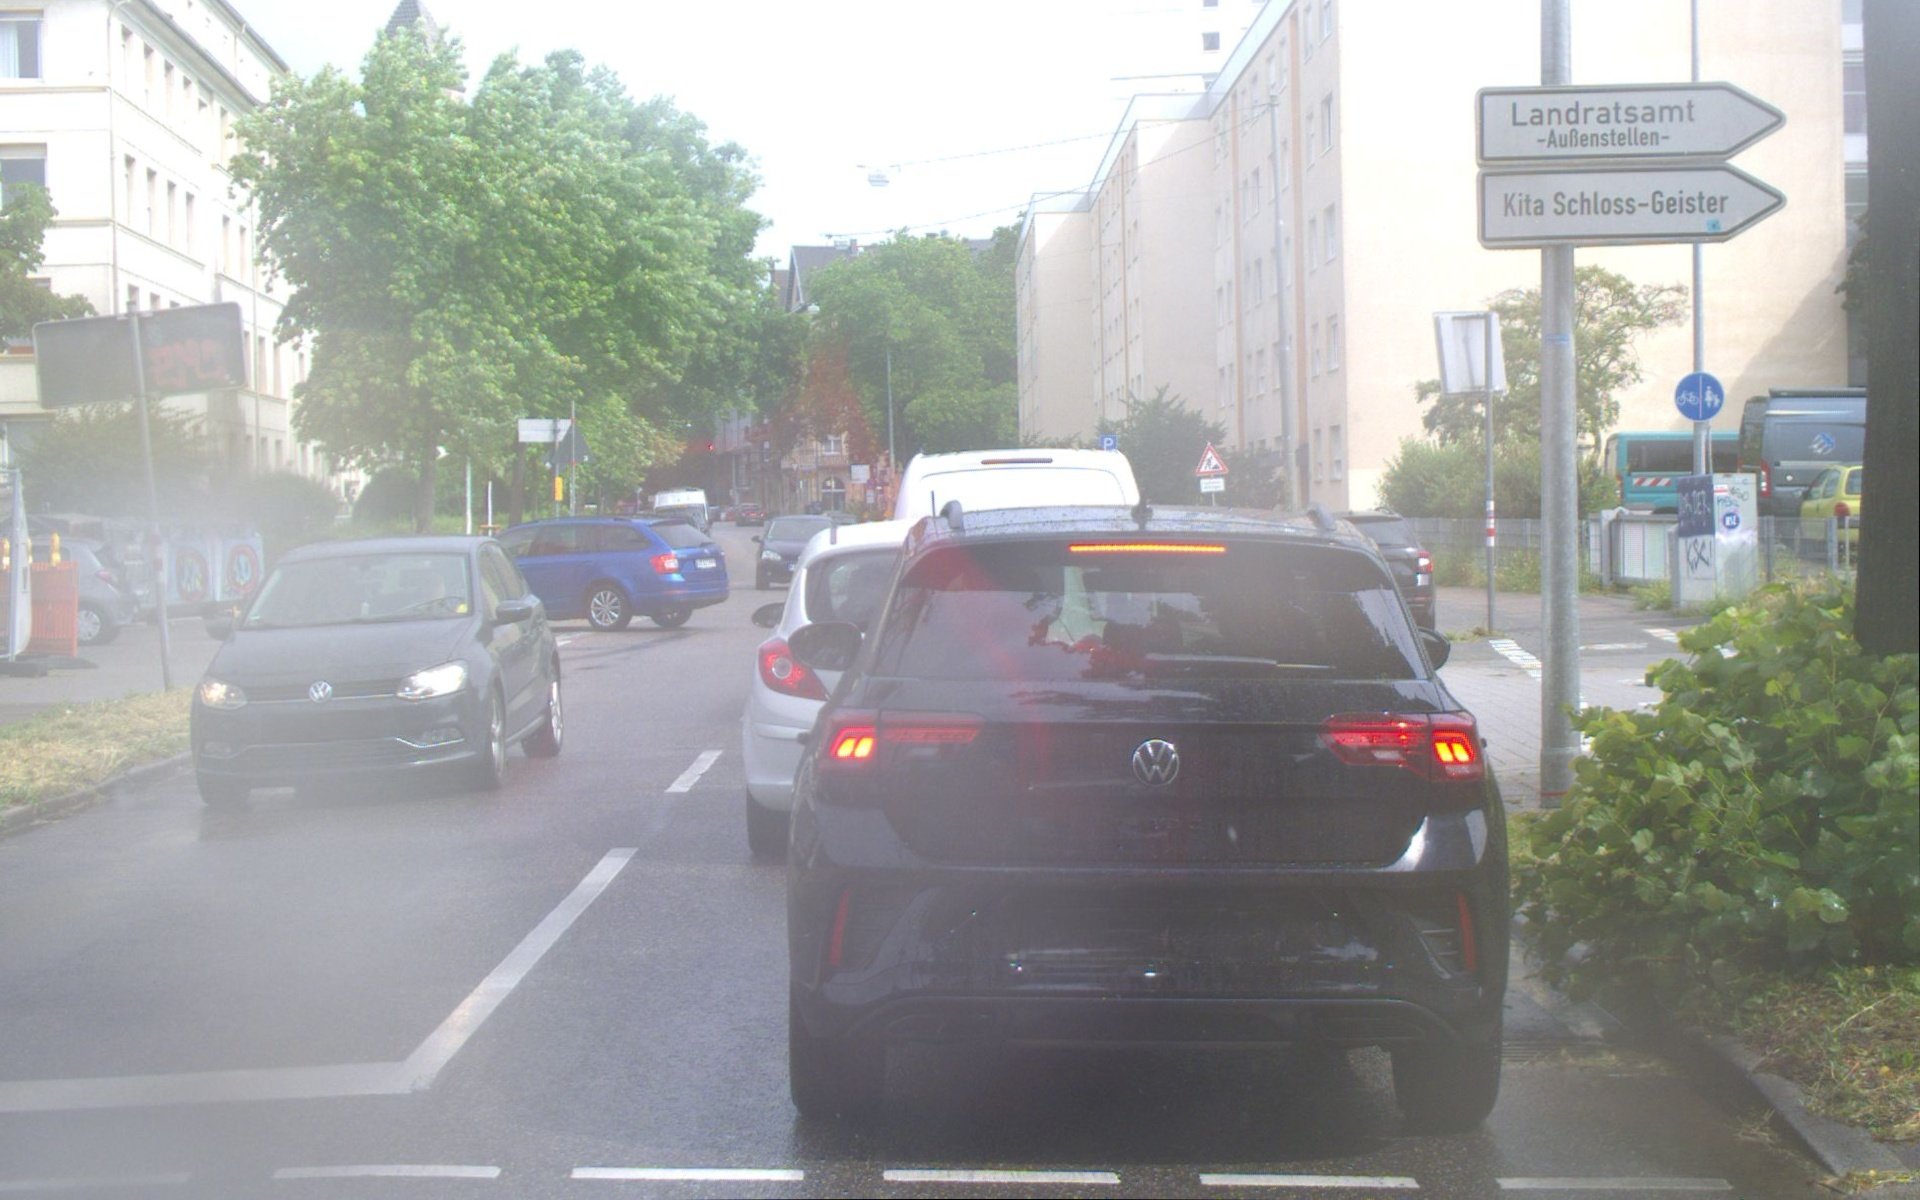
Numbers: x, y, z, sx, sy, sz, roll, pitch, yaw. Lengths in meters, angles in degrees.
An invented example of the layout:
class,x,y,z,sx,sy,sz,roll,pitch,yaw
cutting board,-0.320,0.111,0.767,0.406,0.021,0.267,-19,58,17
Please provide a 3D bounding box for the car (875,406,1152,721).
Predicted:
class,x,y,z,sx,sy,sz,roll,pitch,yaw
car,0.415,-0.272,25.116,1.836,2.095,4.000,1,1,2

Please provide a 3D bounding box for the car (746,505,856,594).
class,x,y,z,sx,sy,sz,roll,pitch,yaw
car,-3.099,-1.014,67.569,1.841,1.602,4.000,-3,2,1

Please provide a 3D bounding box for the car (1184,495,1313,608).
class,x,y,z,sx,sy,sz,roll,pitch,yaw
car,4.228,-0.684,50.842,1.757,1.522,3.999,2,0,3

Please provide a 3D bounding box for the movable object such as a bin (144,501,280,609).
class,x,y,z,sx,sy,sz,roll,pitch,yaw
movable object such as a bin,-12.014,-0.732,55.257,1.539,1.656,1.457,-1,2,19

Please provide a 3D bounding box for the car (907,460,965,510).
class,x,y,z,sx,sy,sz,roll,pitch,yaw
car,-0.808,-3.960,118.806,1.841,1.602,3.675,-3,2,1

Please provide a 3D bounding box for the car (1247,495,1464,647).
class,x,y,z,sx,sy,sz,roll,pitch,yaw
car,4.454,-0.382,39.325,1.774,1.534,4.379,-4,2,-2

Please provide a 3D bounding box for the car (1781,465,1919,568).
class,x,y,z,sx,sy,sz,roll,pitch,yaw
car,13.335,-1.251,50.848,1.610,1.444,3.417,-2,2,2

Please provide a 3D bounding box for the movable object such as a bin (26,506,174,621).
class,x,y,z,sx,sy,sz,roll,pitch,yaw
movable object such as a bin,-13.043,-0.556,52.184,1.539,1.650,1.526,-1,2,19

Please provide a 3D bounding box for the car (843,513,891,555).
class,x,y,z,sx,sy,sz,roll,pitch,yaw
car,-3.793,-2.709,141.025,1.740,1.602,3.675,-3,2,1

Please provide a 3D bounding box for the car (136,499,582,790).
class,x,y,z,sx,sy,sz,roll,pitch,yaw
car,-3.401,0.213,20.191,1.813,1.535,3.982,0,1,2

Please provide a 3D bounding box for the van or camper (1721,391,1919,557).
class,x,y,z,sx,sy,sz,roll,pitch,yaw
van or camper,14.817,-1.990,54.503,4.998,2.545,2.175,-1,1,1

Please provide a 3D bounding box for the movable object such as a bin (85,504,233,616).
class,x,y,z,sx,sy,sz,roll,pitch,yaw
movable object such as a bin,-12.513,-0.634,53.744,1.539,1.668,1.664,-1,2,19

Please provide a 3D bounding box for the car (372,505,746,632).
class,x,y,z,sx,sy,sz,roll,pitch,yaw
car,-5.178,-0.413,44.465,4.437,1.579,1.820,0,2,19

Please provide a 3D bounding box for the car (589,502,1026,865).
class,x,y,z,sx,sy,sz,roll,pitch,yaw
car,-0.646,0.324,16.384,1.813,1.498,4.000,1,1,0

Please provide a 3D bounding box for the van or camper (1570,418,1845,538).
class,x,y,z,sx,sy,sz,roll,pitch,yaw
van or camper,14.064,-2.307,64.914,4.760,2.124,2.321,-1,2,4

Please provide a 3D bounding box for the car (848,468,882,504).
class,x,y,z,sx,sy,sz,roll,pitch,yaw
car,-5.025,-6.025,181.651,1.665,1.831,4.001,-2,2,-2

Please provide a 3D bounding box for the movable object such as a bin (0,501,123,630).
class,x,y,z,sx,sy,sz,roll,pitch,yaw
movable object such as a bin,-13.390,-0.508,50.645,1.539,1.818,1.262,-1,2,19

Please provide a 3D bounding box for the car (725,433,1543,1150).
class,x,y,z,sx,sy,sz,roll,pitch,yaw
car,0.386,0.412,9.974,1.873,1.640,4.062,1,1,0

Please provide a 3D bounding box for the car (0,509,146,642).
class,x,y,z,sx,sy,sz,roll,pitch,yaw
car,-13.036,-0.243,45.900,3.986,1.631,1.896,-4,0,-9
